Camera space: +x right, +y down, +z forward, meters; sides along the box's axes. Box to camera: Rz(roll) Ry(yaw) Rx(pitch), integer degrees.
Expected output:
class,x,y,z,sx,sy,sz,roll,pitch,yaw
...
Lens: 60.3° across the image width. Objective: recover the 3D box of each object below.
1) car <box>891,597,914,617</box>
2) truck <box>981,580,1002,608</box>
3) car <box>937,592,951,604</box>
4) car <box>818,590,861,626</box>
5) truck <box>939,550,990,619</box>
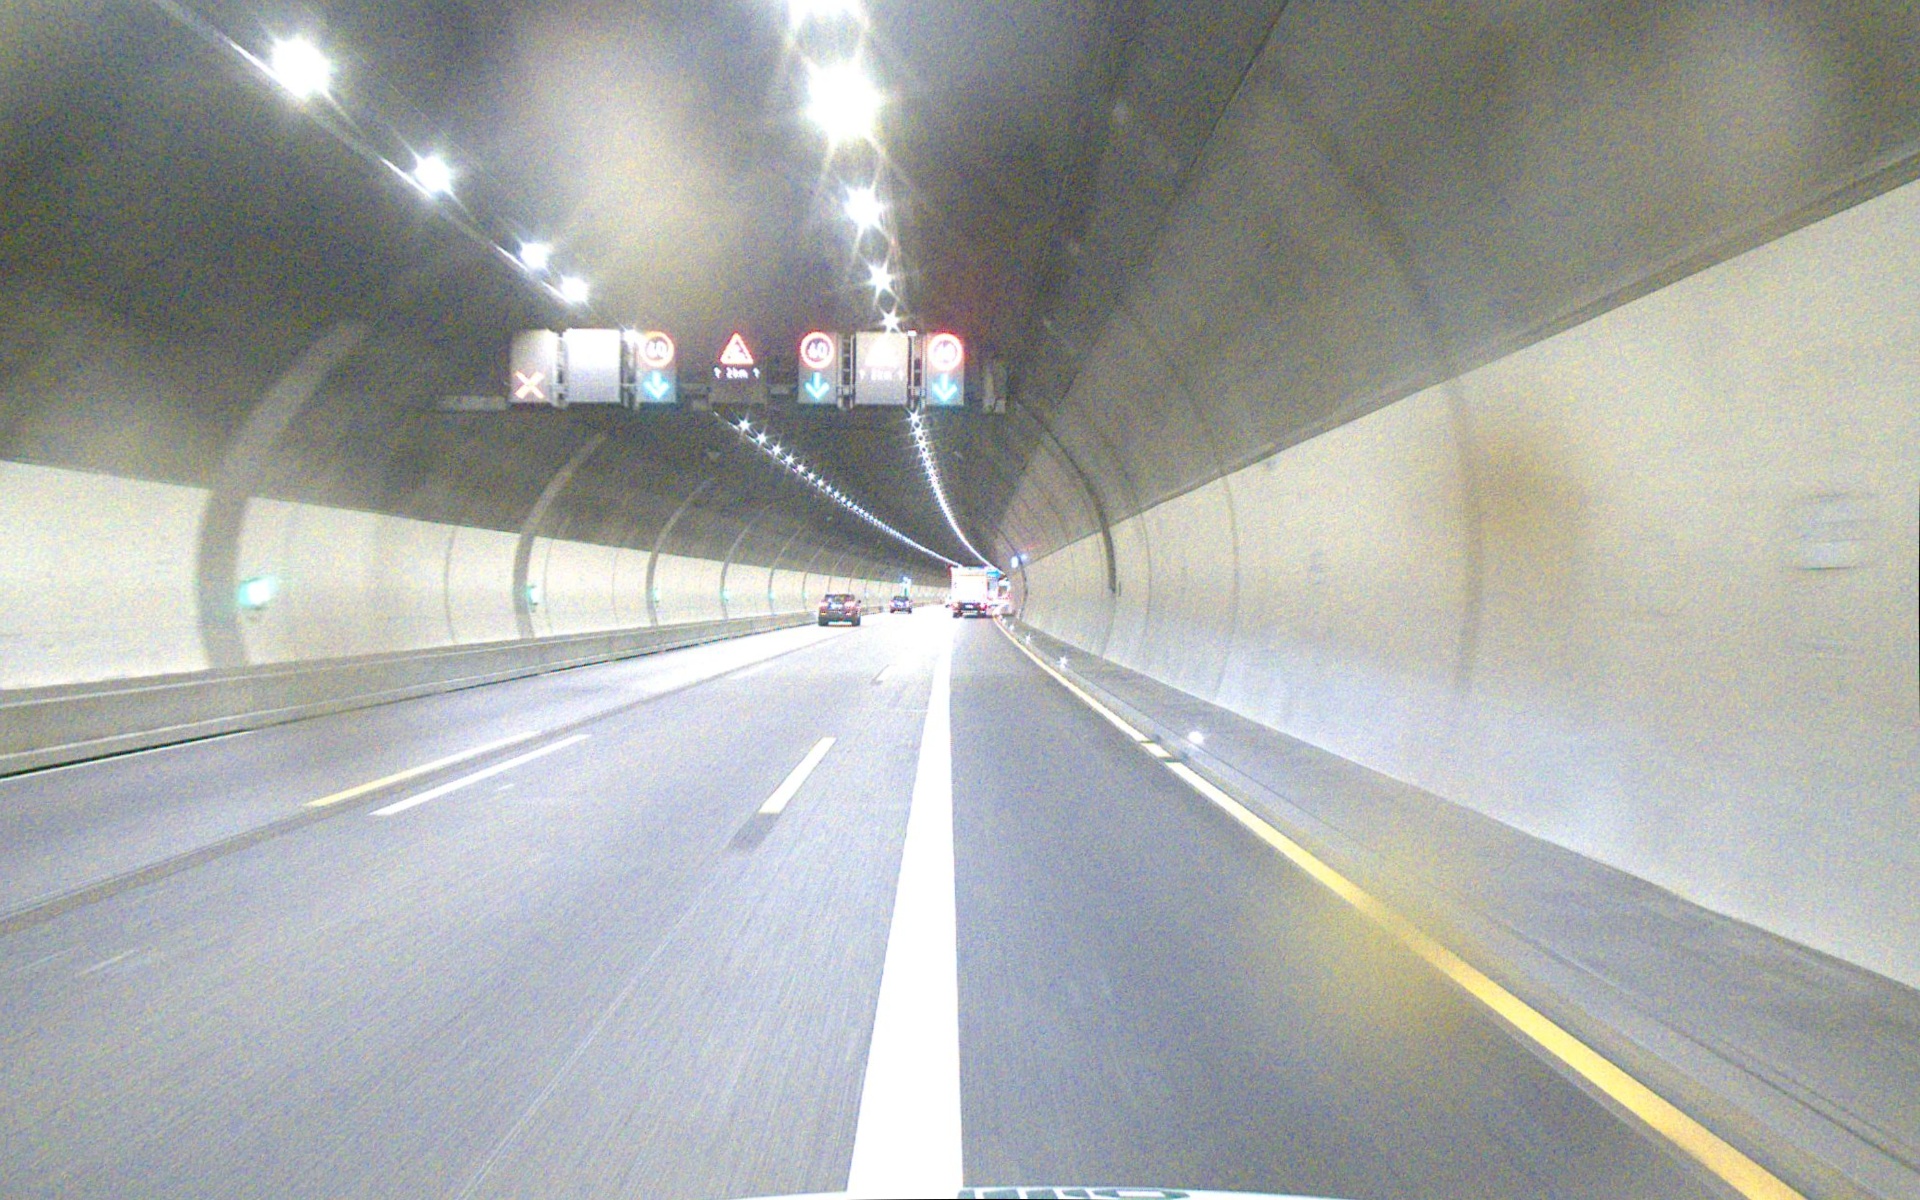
class,x,y,z,sx,sy,sz,roll,pitch,yaw
car,-4.704,0.571,135.462,1.776,1.546,4.000,0,2,-1
truck,4.706,-0.900,248.022,2.862,4.118,14.030,-1,0,1
car,-1.970,-0.210,199.485,1.617,1.297,4.000,0,2,-1
car,-5.685,0.342,78.266,1.775,1.646,4.000,0,1,0
truck,0.211,-1.111,123.129,3.212,4.731,17.281,-1,0,-1
